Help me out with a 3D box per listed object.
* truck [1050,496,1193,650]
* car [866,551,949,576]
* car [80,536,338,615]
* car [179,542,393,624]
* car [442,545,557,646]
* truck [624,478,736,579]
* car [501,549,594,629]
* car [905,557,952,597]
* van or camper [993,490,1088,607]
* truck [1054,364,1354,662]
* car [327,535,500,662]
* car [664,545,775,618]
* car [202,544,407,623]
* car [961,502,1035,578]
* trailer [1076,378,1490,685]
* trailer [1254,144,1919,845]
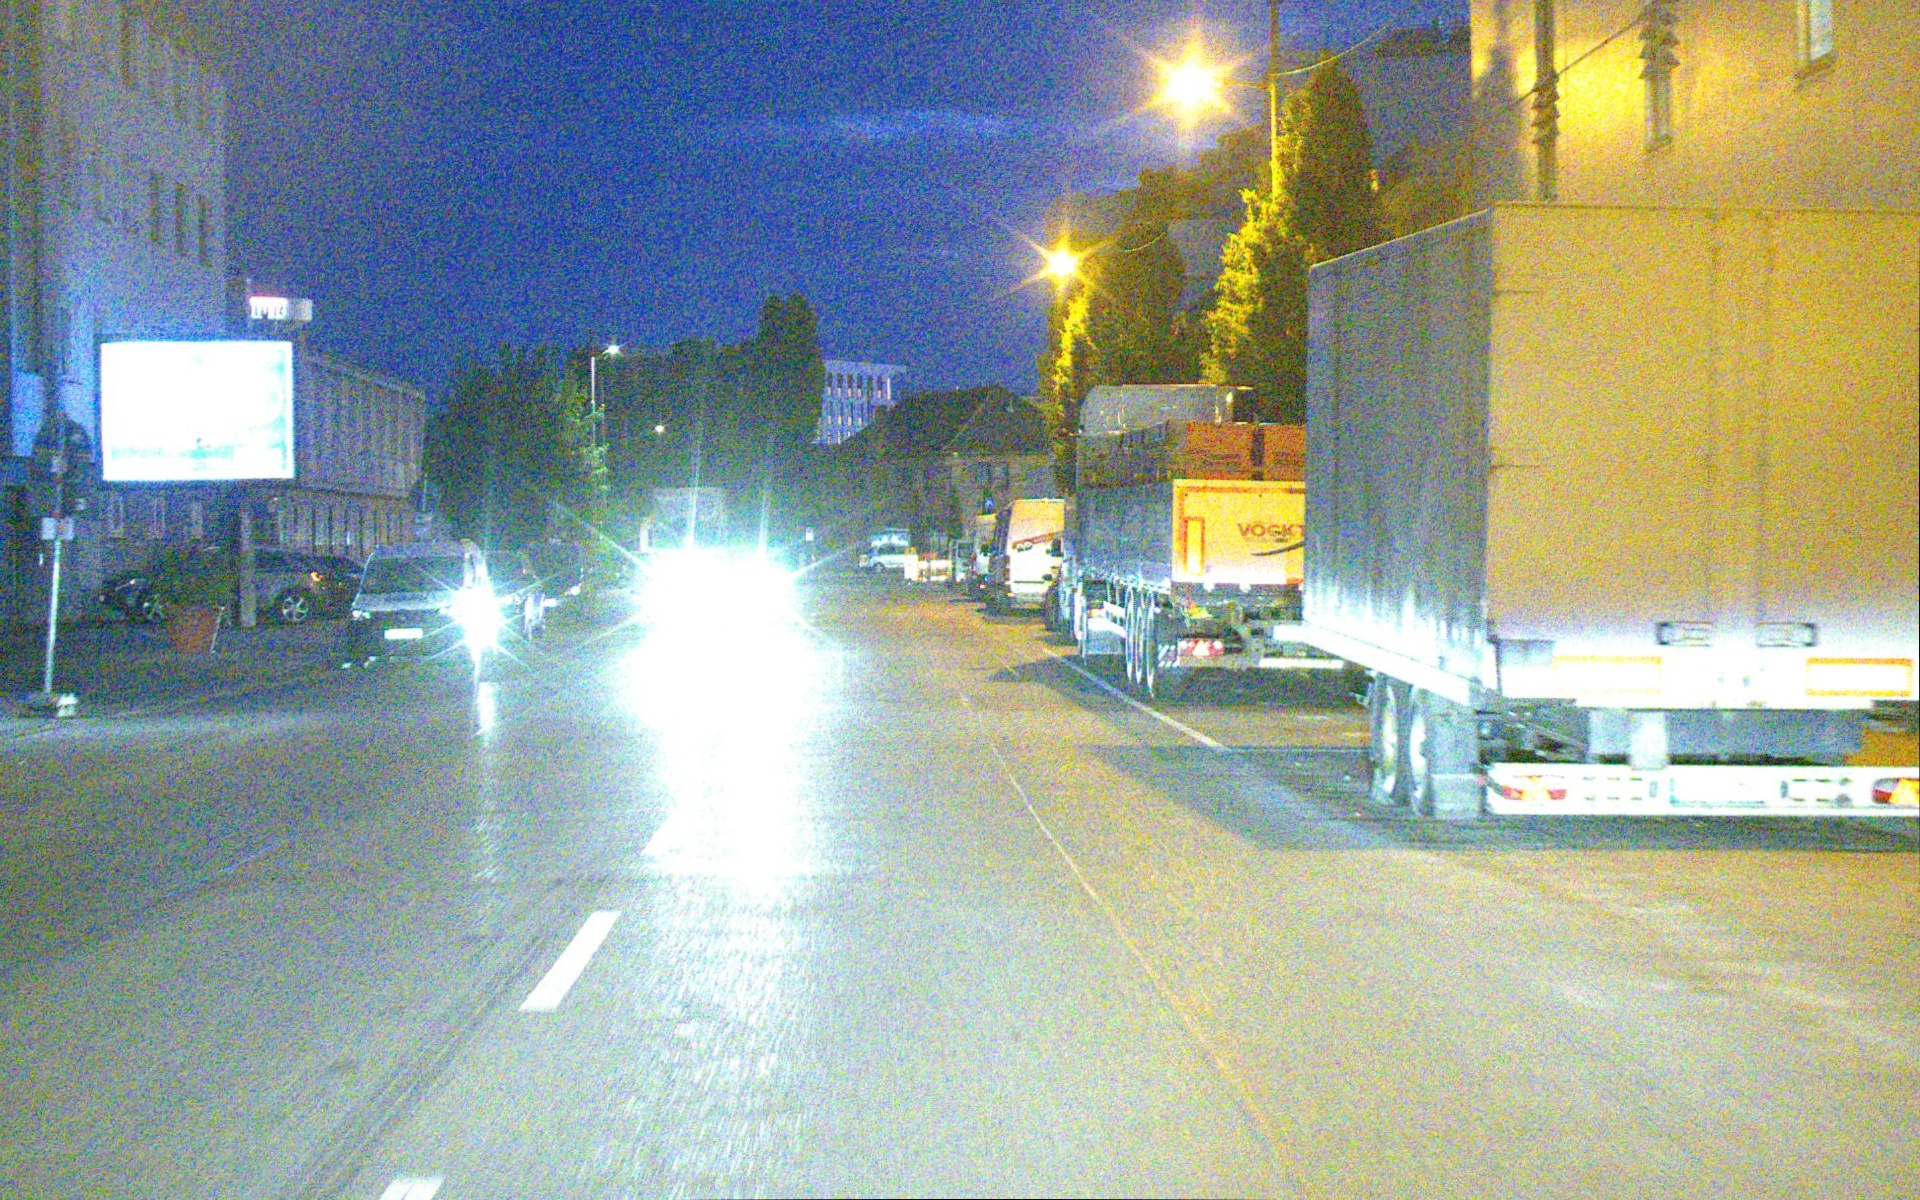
[{"bbox_3d":[2.603,-0.466,56.552,1.993,2.399,5.293,0,1,-1],"label":"truck"},{"bbox_3d":[-2.952,-2.052,193.525,4.531,1.375,2.000,0,0,2],"label":"car"},{"bbox_3d":[-14.686,-0.490,67.231,4.612,1.480,2.000,-1,1,-23],"label":"car"},{"bbox_3d":[-14.271,-0.364,72.785,3.986,1.589,2.000,-2,0,-27],"label":"car"},{"bbox_3d":[-8.233,-0.104,61.737,1.678,1.730,4.356,0,1,-3],"label":"car"},{"bbox_3d":[-10.490,-2.628,128.058,3.889,3.609,8.262,-1,1,-6],"label":"truck"},{"bbox_3d":[-9.180,-0.268,76.789,1.897,1.730,4.356,-1,1,-5],"label":"car"},{"bbox_3d":[-1.389,-1.019,149.012,1.993,1.678,4.000,0,1,-1],"label":"car"},{"bbox_3d":[1.799,-1.172,78.205,1.993,2.573,4.915,0,1,0],"label":"van or camper"},{"bbox_3d":[3.004,-1.051,44.383,3.151,3.451,6.673,-2,0,-1],"label":"truck"},{"bbox_3d":[-8.042,-0.045,50.942,1.993,1.788,4.000,0,1,-1],"label":"car"},{"bbox_3d":[-4.708,-0.378,67.772,1.993,1.393,4.000,0,1,-1],"label":"car"},{"bbox_3d":[-14.448,-0.371,75.742,3.986,1.589,2.000,-2,0,-27],"label":"car"},{"bbox_3d":[1.075,-1.716,98.665,1.993,2.138,4.000,0,1,-1],"label":"car"},{"bbox_3d":[3.176,-0.658,37.244,3.184,2.739,10.715,-2,0,-1],"label":"trailer"},{"bbox_3d":[3.701,-0.540,20.925,2.686,3.453,7.810,0,0,-4],"label":"trailer"}]
